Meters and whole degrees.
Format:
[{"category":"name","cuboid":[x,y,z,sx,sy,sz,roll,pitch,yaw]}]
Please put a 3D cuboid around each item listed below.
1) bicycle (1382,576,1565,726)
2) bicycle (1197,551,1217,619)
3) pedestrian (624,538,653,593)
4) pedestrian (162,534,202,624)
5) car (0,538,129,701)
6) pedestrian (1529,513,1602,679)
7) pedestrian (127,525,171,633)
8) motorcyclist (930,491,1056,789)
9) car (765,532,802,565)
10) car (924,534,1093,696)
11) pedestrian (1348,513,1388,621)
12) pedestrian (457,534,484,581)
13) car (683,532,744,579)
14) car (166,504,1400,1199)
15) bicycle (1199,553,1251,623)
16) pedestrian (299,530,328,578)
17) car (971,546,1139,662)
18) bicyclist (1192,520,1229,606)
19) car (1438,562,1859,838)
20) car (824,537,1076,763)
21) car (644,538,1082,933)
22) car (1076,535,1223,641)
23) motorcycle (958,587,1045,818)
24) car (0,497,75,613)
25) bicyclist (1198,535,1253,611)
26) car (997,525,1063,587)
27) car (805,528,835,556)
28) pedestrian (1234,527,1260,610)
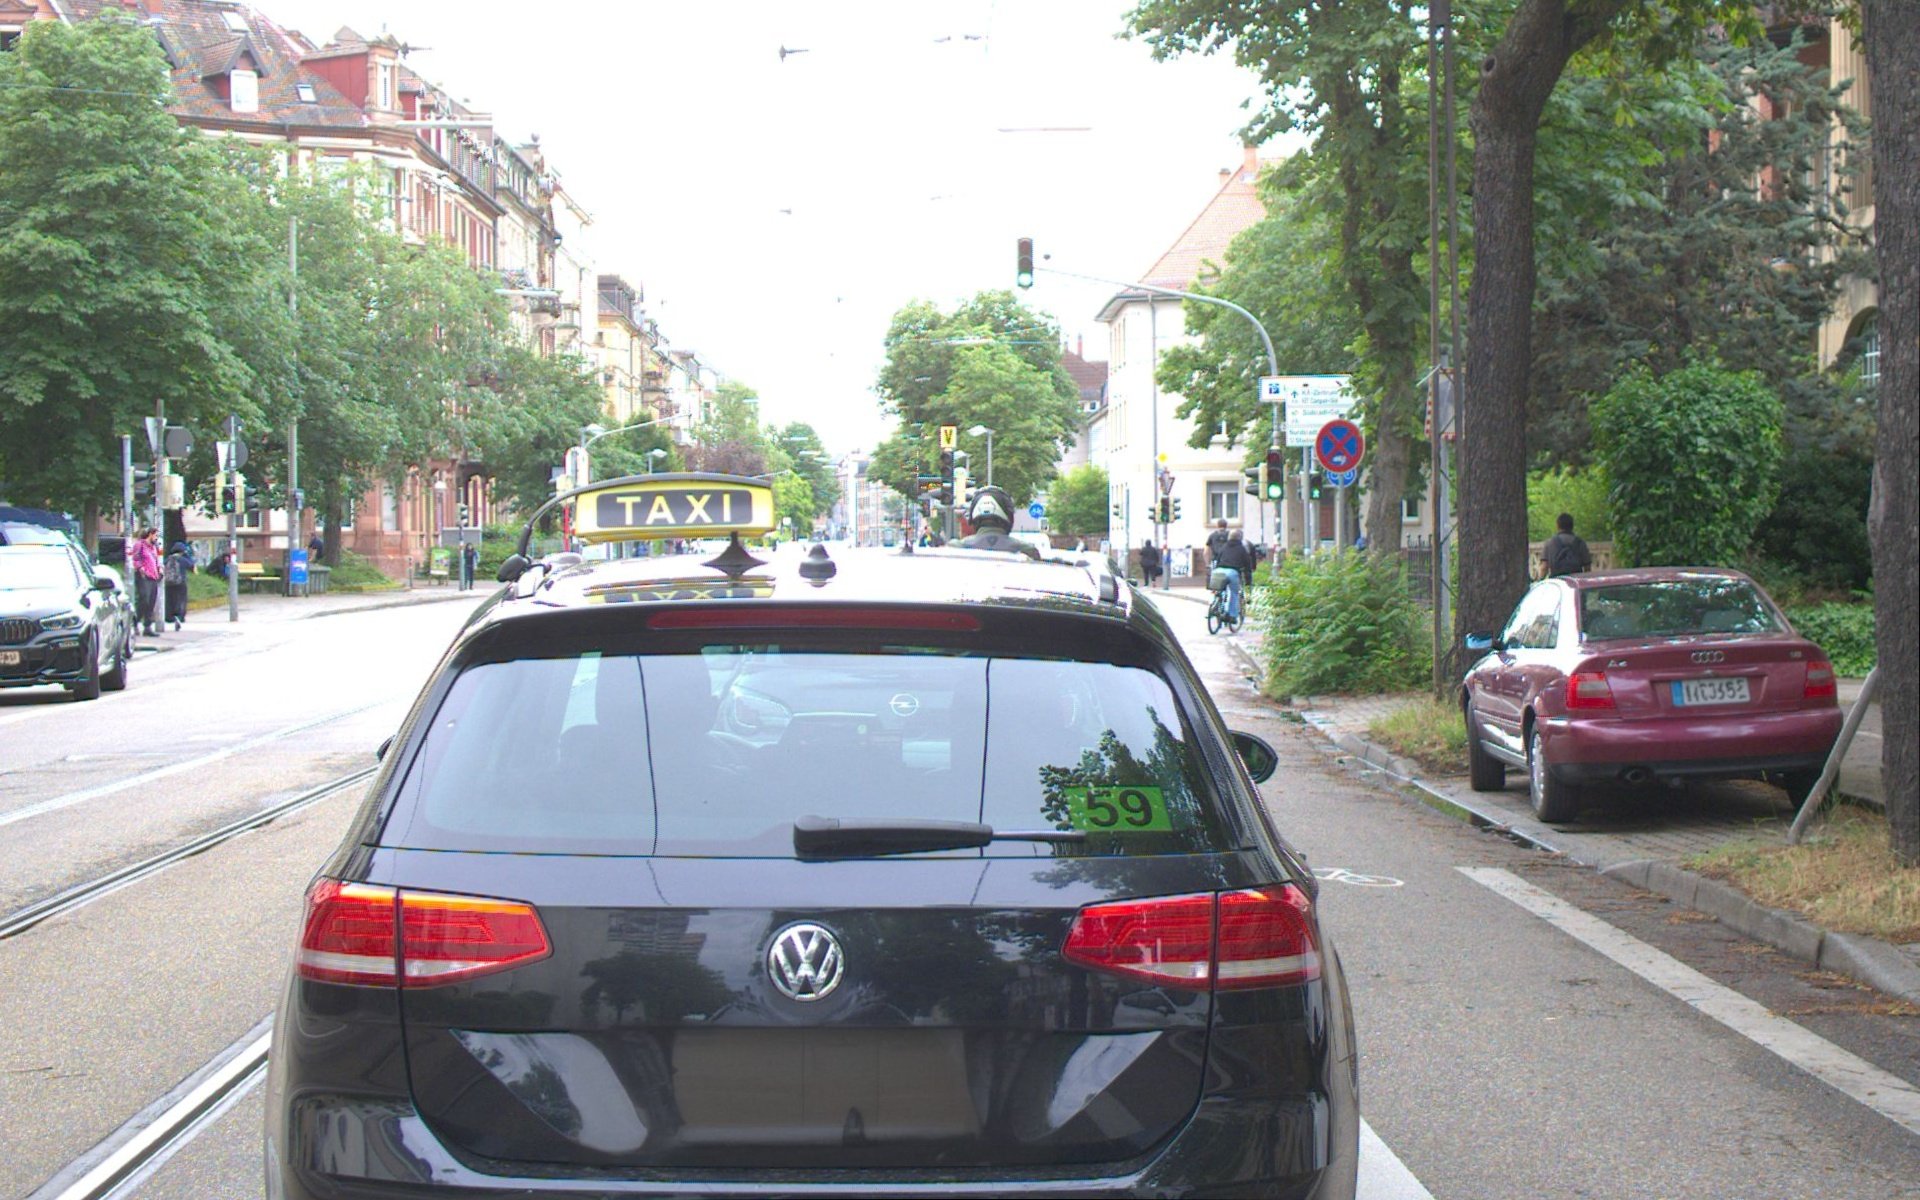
[{"category":"bicycle","cuboid":[4.219,0.408,28.146,0.433,1.194,1.899,1,0,45]},{"category":"bicycle","cuboid":[4.530,-0.288,62.991,0.297,1.219,1.430,0,1,7]},{"category":"pedestrian","cuboid":[-8.912,-0.951,95.301,0.714,1.515,0.590,0,1,1]},{"category":"pedestrian","cuboid":[-14.401,-0.393,63.640,0.589,1.657,0.839,0,1,-4]},{"category":"car","cuboid":[-10.199,0.187,37.256,1.882,1.606,4.889,-3,1,-9]},{"category":"pedestrian","cuboid":[6.663,-0.054,37.843,0.632,1.808,0.726,0,1,-3]},{"category":"pedestrian","cuboid":[-13.838,-0.367,58.656,0.623,1.836,0.610,0,1,-3]},{"category":"motorcyclist","cuboid":[0.184,0.219,19.962,0.703,1.686,0.804,-1,1,-1]},{"category":"car","cuboid":[-8.891,-2.606,173.706,1.721,1.617,3.864,-1,1,-1]},{"category":"car","cuboid":[0.449,0.131,35.069,1.606,1.550,3.578,1,0,-1]},{"category":"pedestrian","cuboid":[7.025,-0.575,59.173,0.514,1.824,0.417,-3,1,16]},{"category":"pedestrian","cuboid":[-15.841,-1.367,111.208,0.589,1.515,0.647,0,1,35]},{"category":"car","cuboid":[-9.612,-1.739,134.444,1.993,1.784,4.000,1,0,1]},{"category":"car","cuboid":[-0.269,0.597,6.816,1.723,1.541,4.000,0,1,-1]},{"category":"bicycle","cuboid":[4.592,-0.215,59.593,0.253,1.192,1.154,0,1,40]},{"category":"pedestrian","cuboid":[-20.657,-1.464,109.863,0.589,1.515,0.647,0,1,35]},{"category":"car","cuboid":[1.285,0.023,44.756,1.892,1.403,3.999,-1,1,6]},{"category":"bicyclist","cuboid":[4.594,-0.678,63.037,0.651,1.563,0.695,0,1,7]},{"category":"car","cuboid":[4.028,0.518,20.749,1.602,1.394,4.227,-2,1,-1]},{"category":"car","cuboid":[-0.090,0.306,25.574,1.723,1.541,4.000,0,1,-1]},{"category":"car","cuboid":[-0.404,0.499,15.542,1.723,1.541,4.000,0,1,-1]},{"category":"car","cuboid":[2.905,-0.198,53.406,1.993,1.572,4.000,1,1,-1]},{"category":"motorcycle","cuboid":[0.229,0.560,19.854,0.446,1.231,1.907,-1,1,-1]},{"category":"car","cuboid":[-21.229,-0.965,73.428,2.180,2.409,5.377,-1,1,-43]},{"category":"bicyclist","cuboid":[4.600,-0.466,59.542,0.653,1.297,0.694,0,1,41]},{"category":"car","cuboid":[2.304,-1.449,114.101,2.033,2.007,4.000,1,0,-1]},{"category":"car","cuboid":[-8.337,-3.448,205.073,1.721,1.617,3.864,-1,1,-1]},{"category":"pedestrian","cuboid":[5.449,-0.598,65.303,0.450,1.556,0.479,0,1,7]}]
